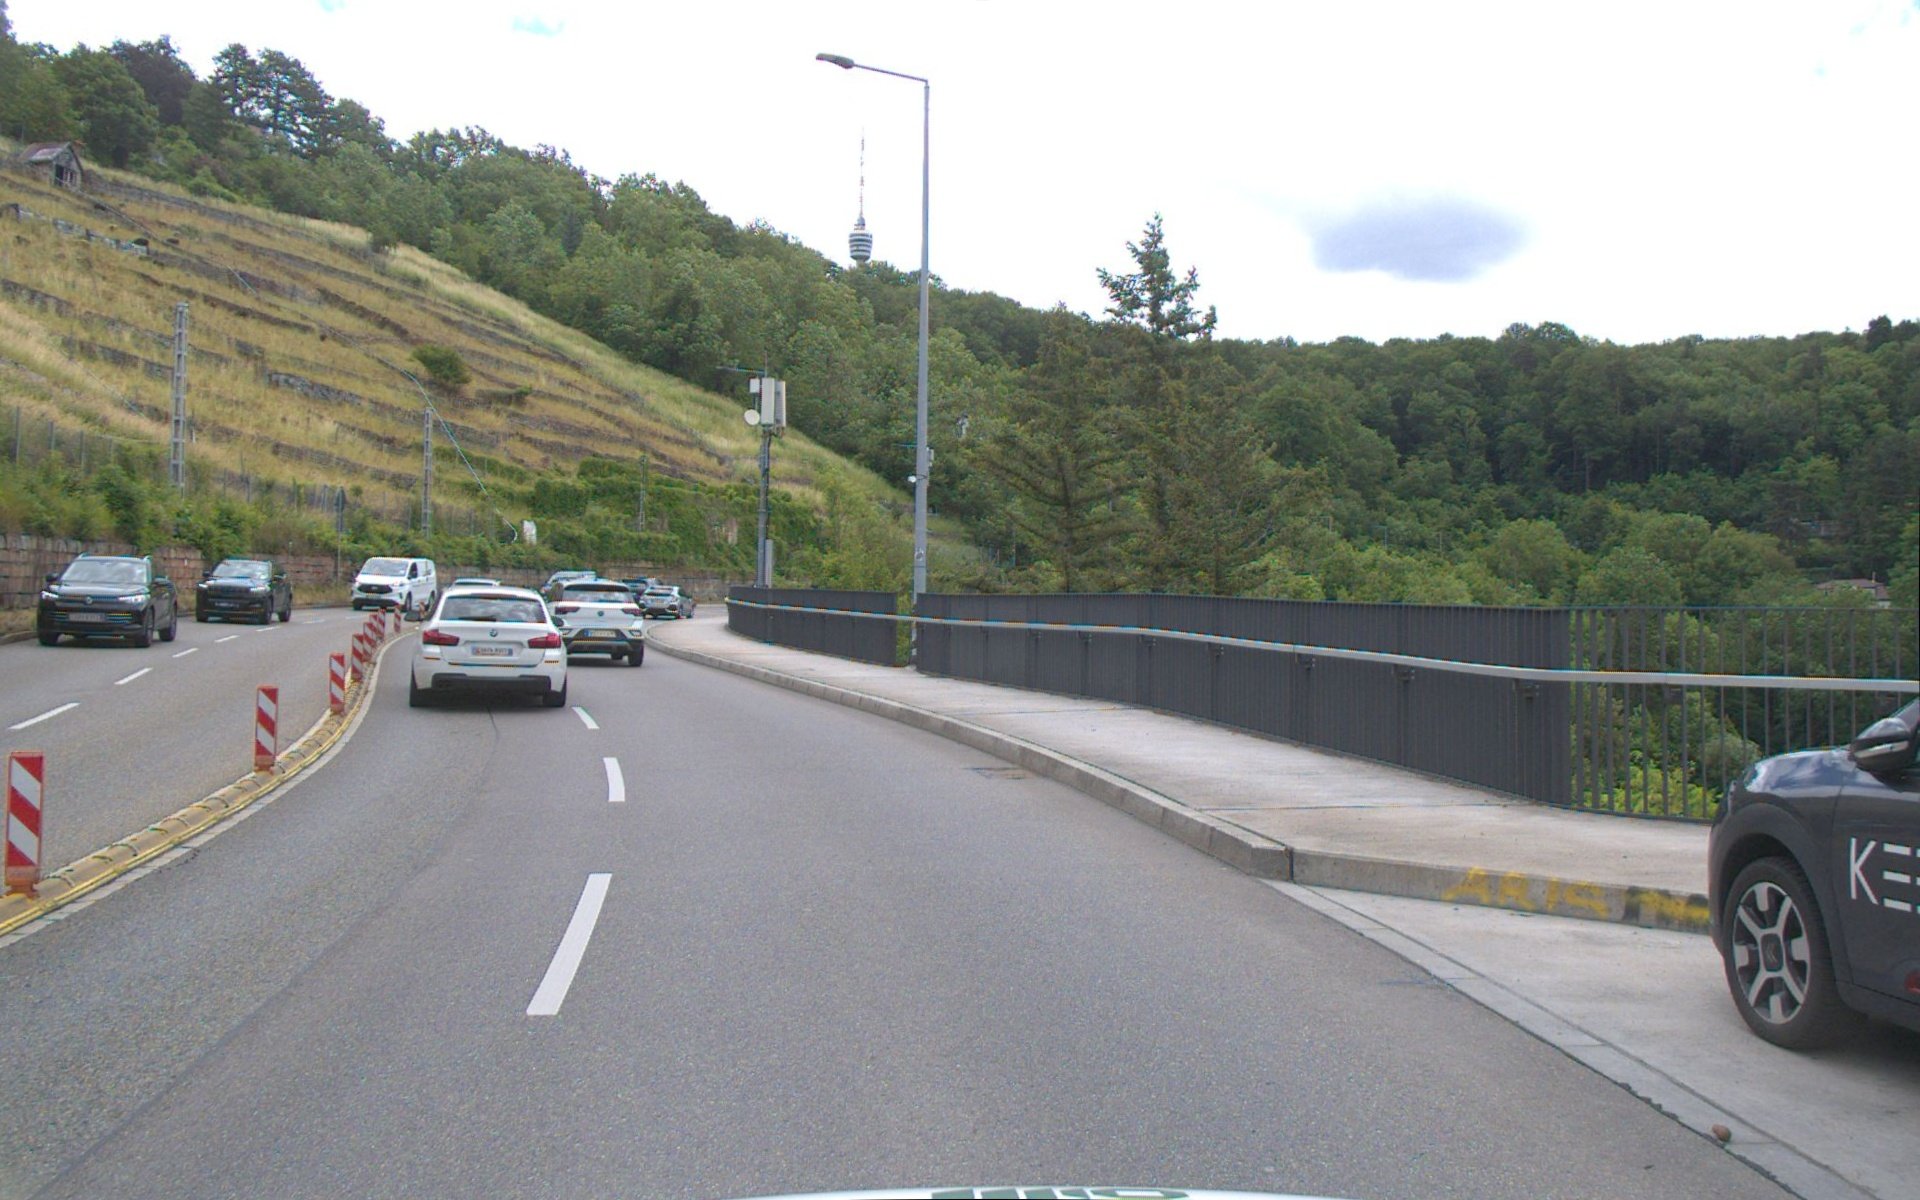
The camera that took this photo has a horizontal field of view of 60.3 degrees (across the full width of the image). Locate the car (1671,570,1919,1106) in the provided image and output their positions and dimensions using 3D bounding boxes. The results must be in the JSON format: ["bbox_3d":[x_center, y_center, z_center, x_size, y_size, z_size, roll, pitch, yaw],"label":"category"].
[{"bbox_3d":[3.764,0.705,4.376,1.837,1.570,4.087,1,0,-3],"label":"car"}]

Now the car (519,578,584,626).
[{"bbox_3d":[-16.382,0.091,66.457,1.956,1.677,3.994,-3,-2,-6],"label":"car"}]

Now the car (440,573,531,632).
[{"bbox_3d":[-13.425,0.094,47.021,1.958,1.529,4.655,-2,0,-10],"label":"car"}]

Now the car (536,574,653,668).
[{"bbox_3d":[-7.062,0.389,31.680,1.799,1.634,3.980,3,-1,-18],"label":"car"}]

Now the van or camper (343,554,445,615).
[{"bbox_3d":[-21.008,-0.530,61.611,2.104,2.052,4.962,1,-1,-1],"label":"van or camper"}]

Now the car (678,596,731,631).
[{"bbox_3d":[-14.559,0.784,94.489,1.830,1.793,4.002,0,-3,9],"label":"car"}]

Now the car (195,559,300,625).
[{"bbox_3d":[-19.073,-0.213,44.428,1.833,1.652,4.332,2,0,-14],"label":"car"}]

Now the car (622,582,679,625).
[{"bbox_3d":[-14.604,0.190,78.152,1.831,1.793,4.000,0,-3,1],"label":"car"}]

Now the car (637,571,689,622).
[{"bbox_3d":[-12.672,-0.138,70.708,1.956,2.049,3.993,-1,-1,-8],"label":"car"}]

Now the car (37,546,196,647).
[{"bbox_3d":[-15.933,-0.058,31.471,1.813,1.756,4.444,1,0,-16],"label":"car"}]

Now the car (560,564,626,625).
[{"bbox_3d":[-11.875,-0.137,53.604,1.959,1.748,4.100,-2,-1,-12],"label":"car"}]

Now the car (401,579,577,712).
[{"bbox_3d":[-6.182,0.517,21.369,1.801,1.485,4.459,2,0,-21],"label":"car"}]

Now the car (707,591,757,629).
[{"bbox_3d":[-12.064,0.553,87.608,1.830,1.793,4.001,0,-3,4],"label":"car"}]
